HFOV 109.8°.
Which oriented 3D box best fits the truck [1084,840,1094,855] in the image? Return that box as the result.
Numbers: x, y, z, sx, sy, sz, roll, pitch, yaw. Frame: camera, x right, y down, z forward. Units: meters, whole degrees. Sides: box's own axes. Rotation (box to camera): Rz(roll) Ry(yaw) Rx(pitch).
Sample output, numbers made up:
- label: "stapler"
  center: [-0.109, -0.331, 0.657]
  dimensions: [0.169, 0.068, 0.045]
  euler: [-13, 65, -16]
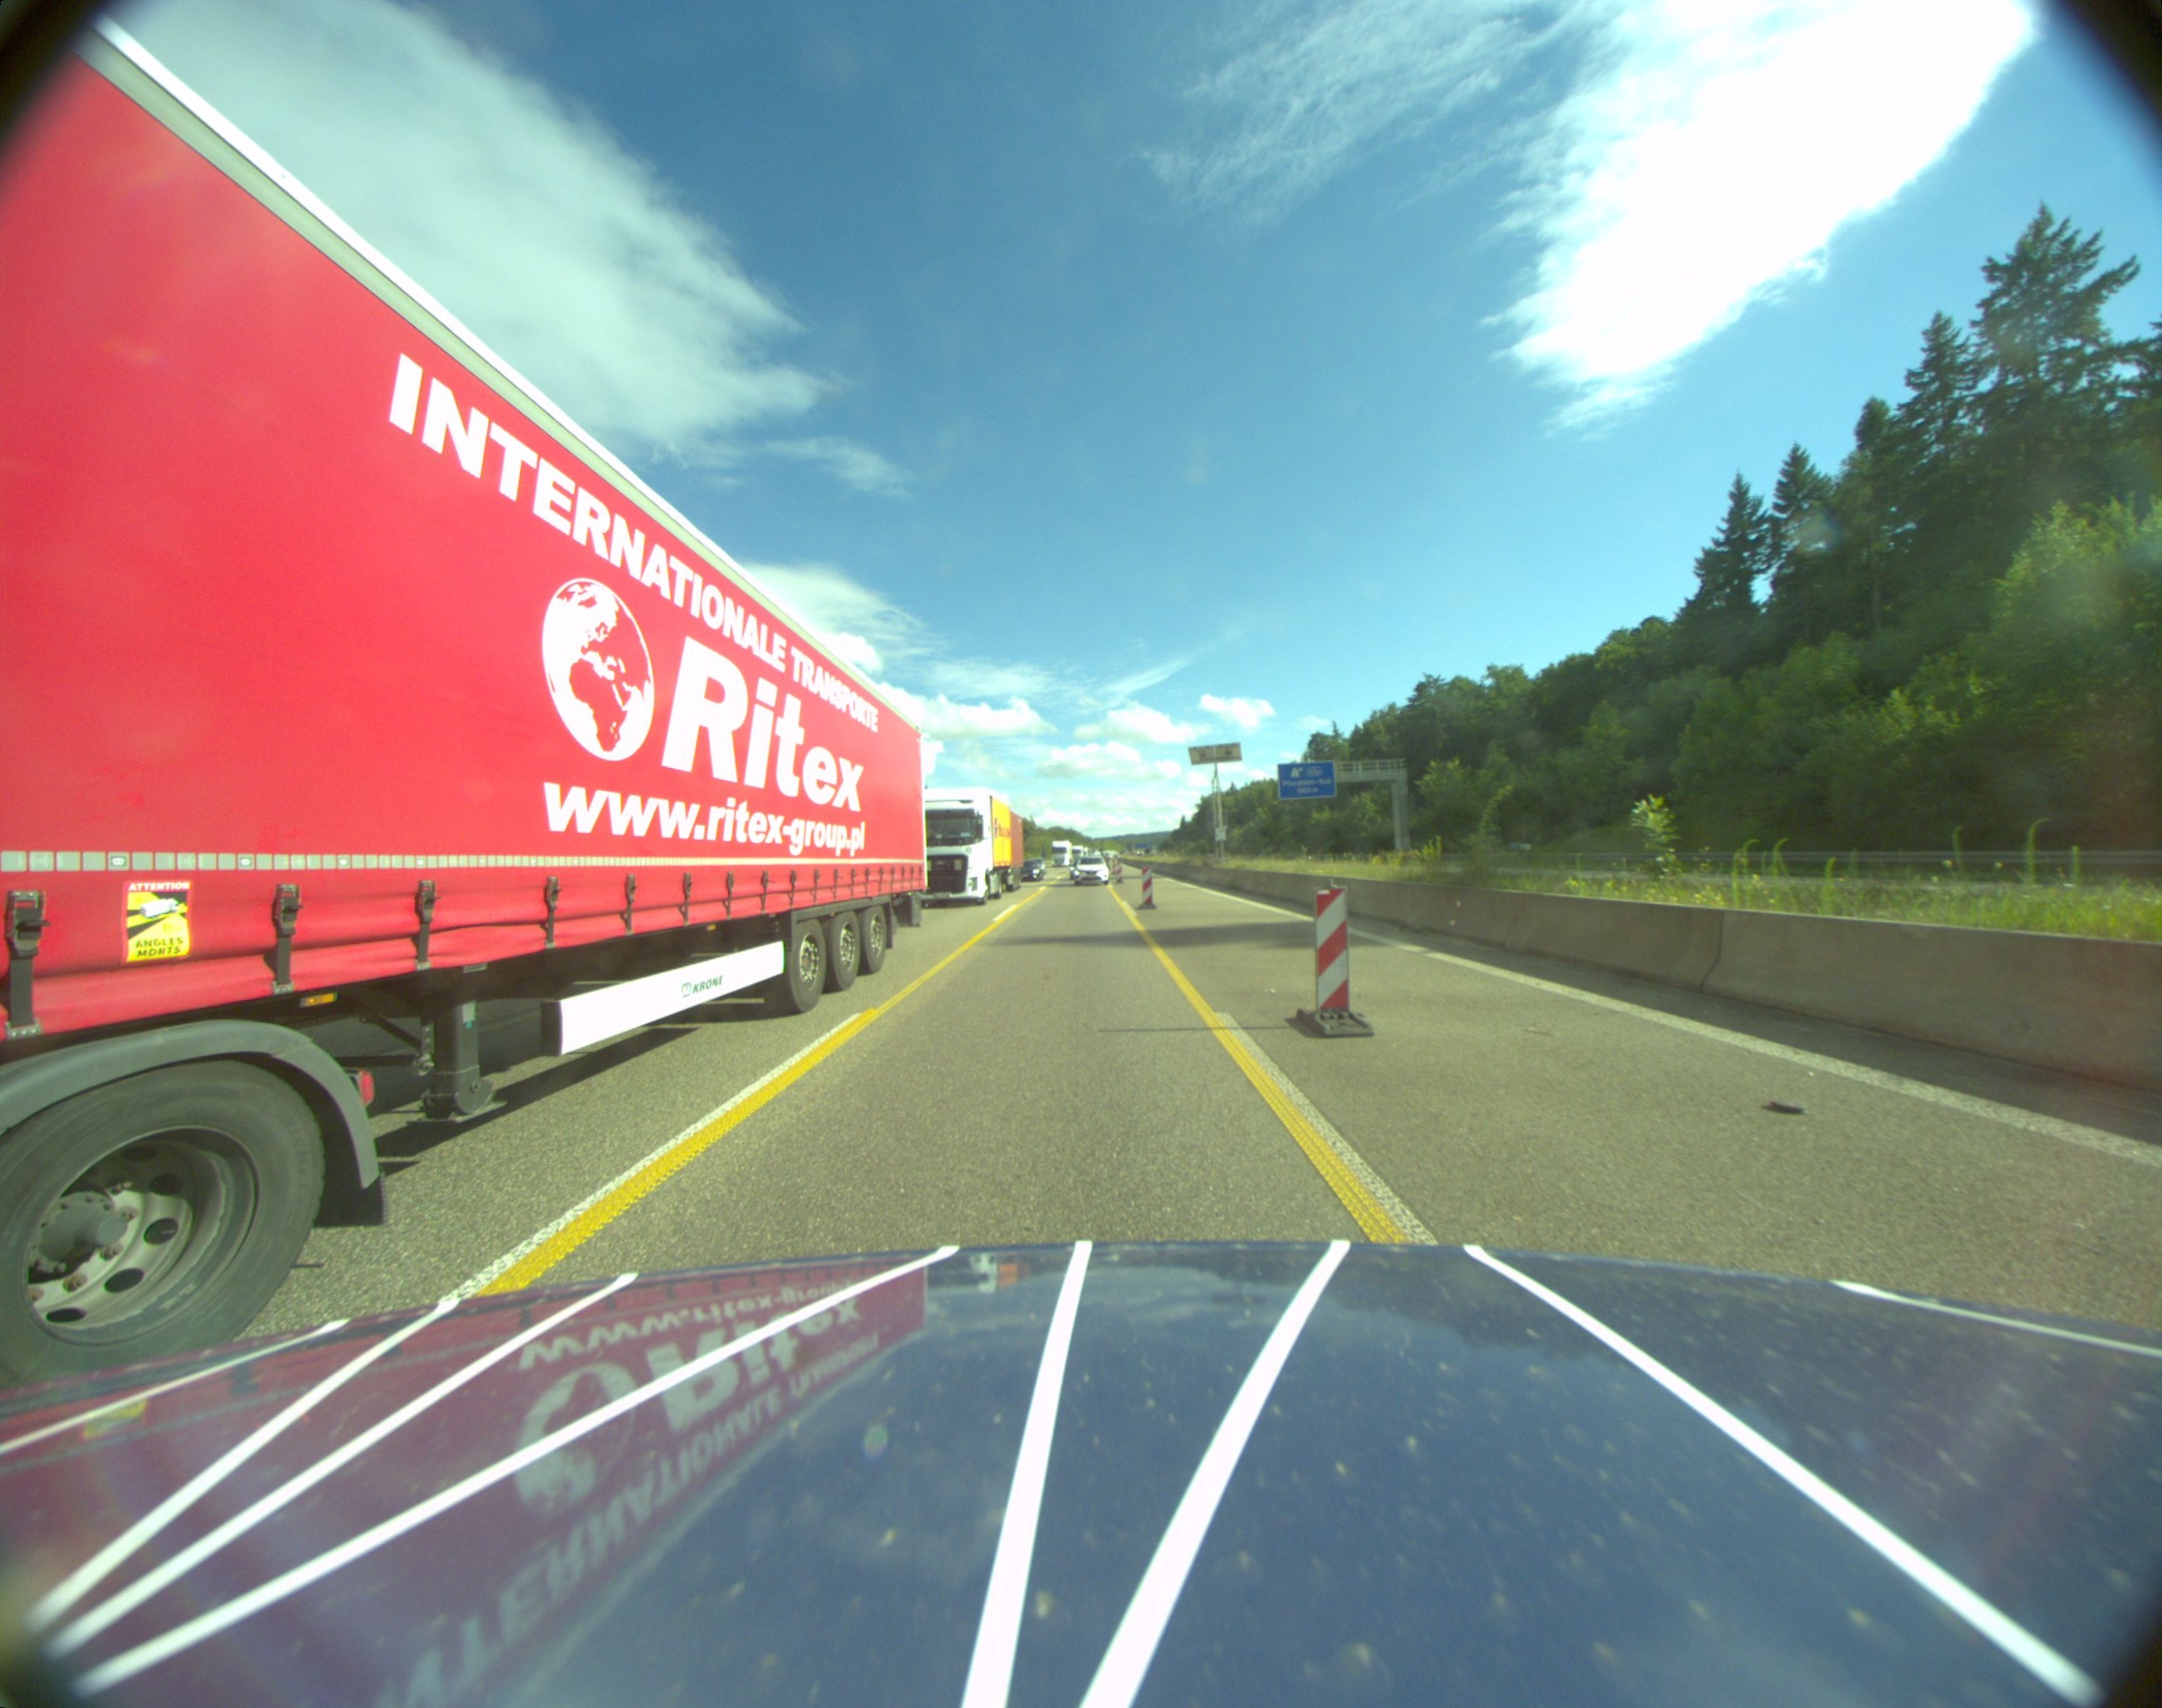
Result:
- label: "truck"
  center: [2.247, -1.789, 223.976]
  dimensions: [2.641, 4.092, 8.194]
  euler: [-3, 0, -1]

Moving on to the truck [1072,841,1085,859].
- label: "truck"
  center: [-0.628, -0.993, 184.923]
  dimensions: [2.640, 4.092, 8.196]
  euler: [-2, 0, 3]

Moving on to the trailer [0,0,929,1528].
- label: "trailer"
  center: [-4.076, -0.293, 6.639]
  dimensions: [2.707, 3.945, 13.415]
  euler: [-2, 0, 0]

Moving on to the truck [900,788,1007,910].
- label: "truck"
  center: [-4.301, -0.170, 26.849]
  dimensions: [2.501, 3.759, 5.790]
  euler: [-2, 1, 1]

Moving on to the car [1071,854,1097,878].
- label: "car"
  center: [0.241, 0.787, 51.885]
  dimensions: [1.692, 1.471, 3.754]
  euler: [-2, 1, 1]

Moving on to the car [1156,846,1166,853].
- label: "car"
  center: [18.181, -1.092, 172.349]
  dimensions: [1.665, 1.572, 3.911]
  euler: [-2, 1, 0]

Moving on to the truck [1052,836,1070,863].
- label: "truck"
  center: [-3.181, -0.708, 122.026]
  dimensions: [2.641, 4.092, 8.194]
  euler: [-2, 0, -1]

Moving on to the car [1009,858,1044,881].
- label: "car"
  center: [-3.537, 0.975, 50.050]
  dimensions: [1.933, 1.342, 4.477]
  euler: [-2, 0, 1]

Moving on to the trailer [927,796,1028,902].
- label: "trailer"
  center: [-4.179, -0.211, 33.622]
  dimensions: [2.477, 3.753, 12.135]
  euler: [-2, 0, 1]

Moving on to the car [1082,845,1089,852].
- label: "car"
  center: [1.213, -1.607, 222.838]
  dimensions: [1.998, 2.188, 3.999]
  euler: [-2, 1, 1]

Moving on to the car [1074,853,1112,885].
- label: "car"
  center: [0.588, 0.776, 40.916]
  dimensions: [1.840, 1.528, 3.882]
  euler: [-2, 1, -1]
